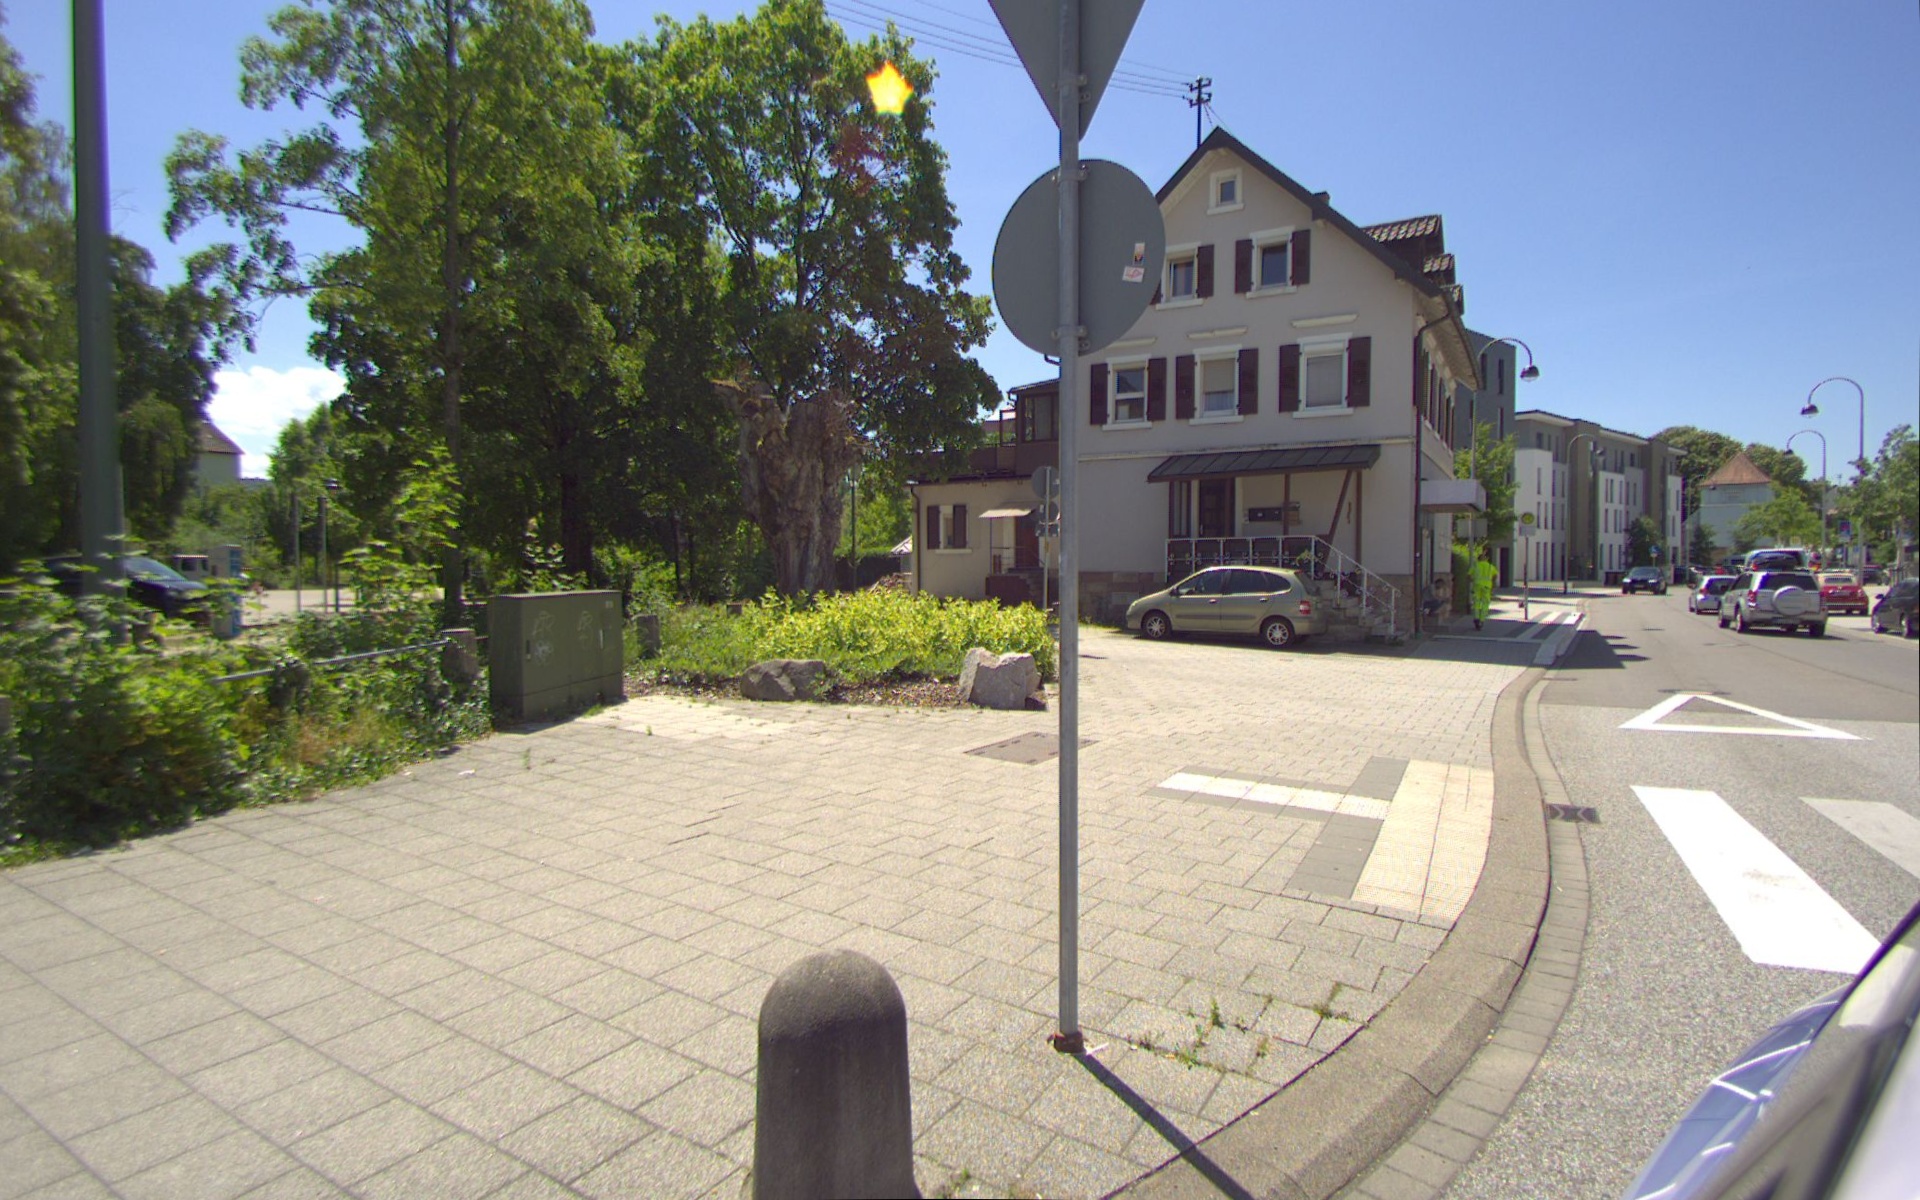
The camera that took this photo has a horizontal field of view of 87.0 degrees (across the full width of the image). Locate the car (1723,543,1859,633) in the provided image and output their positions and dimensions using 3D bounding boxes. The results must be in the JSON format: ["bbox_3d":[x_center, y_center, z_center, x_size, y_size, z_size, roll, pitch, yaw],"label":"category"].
[{"bbox_3d":[21.822,-0.390,26.768,1.914,2.133,4.406,3,3,29],"label":"car"}]

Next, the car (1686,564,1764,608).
[{"bbox_3d":[28.357,-0.574,37.605,1.668,1.475,3.561,3,3,27],"label":"car"}]

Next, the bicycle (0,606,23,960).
[{"bbox_3d":[-3.925,0.647,2.761,1.814,1.169,0.812,-1,4,-25],"label":"bicycle"}]

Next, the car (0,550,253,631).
[{"bbox_3d":[-17.404,-0.218,21.168,3.922,1.621,1.844,0,2,-2],"label":"car"}]

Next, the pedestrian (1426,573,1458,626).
[{"bbox_3d":[12.037,-0.025,25.262,0.679,1.301,0.575,1,2,28],"label":"pedestrian"}]

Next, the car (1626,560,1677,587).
[{"bbox_3d":[43.160,-1.643,63.153,3.532,1.565,1.752,-3,1,-41],"label":"car"}]

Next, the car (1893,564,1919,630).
[{"bbox_3d":[24.682,-0.095,25.065,1.671,1.565,3.900,-1,1,34],"label":"car"}]

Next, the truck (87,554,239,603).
[{"bbox_3d":[-42.746,-1.169,54.506,6.095,2.474,2.267,-1,0,-30],"label":"truck"}]

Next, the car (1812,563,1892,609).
[{"bbox_3d":[31.981,-0.526,36.371,1.671,1.565,3.551,-1,1,34],"label":"car"}]

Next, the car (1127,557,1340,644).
[{"bbox_3d":[5.697,-0.052,21.219,3.971,1.616,1.774,2,2,33],"label":"car"}]

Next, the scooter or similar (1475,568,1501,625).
[{"bbox_3d":[13.400,-0.110,25.704,0.522,1.390,1.336,1,2,25],"label":"scooter or similar"}]

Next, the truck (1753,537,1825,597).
[{"bbox_3d":[35.576,-1.421,43.536,1.948,2.399,4.286,-1,1,34],"label":"truck"}]

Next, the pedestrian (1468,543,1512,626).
[{"bbox_3d":[13.412,-0.397,25.648,0.912,2.055,0.893,1,2,26],"label":"pedestrian"}]
